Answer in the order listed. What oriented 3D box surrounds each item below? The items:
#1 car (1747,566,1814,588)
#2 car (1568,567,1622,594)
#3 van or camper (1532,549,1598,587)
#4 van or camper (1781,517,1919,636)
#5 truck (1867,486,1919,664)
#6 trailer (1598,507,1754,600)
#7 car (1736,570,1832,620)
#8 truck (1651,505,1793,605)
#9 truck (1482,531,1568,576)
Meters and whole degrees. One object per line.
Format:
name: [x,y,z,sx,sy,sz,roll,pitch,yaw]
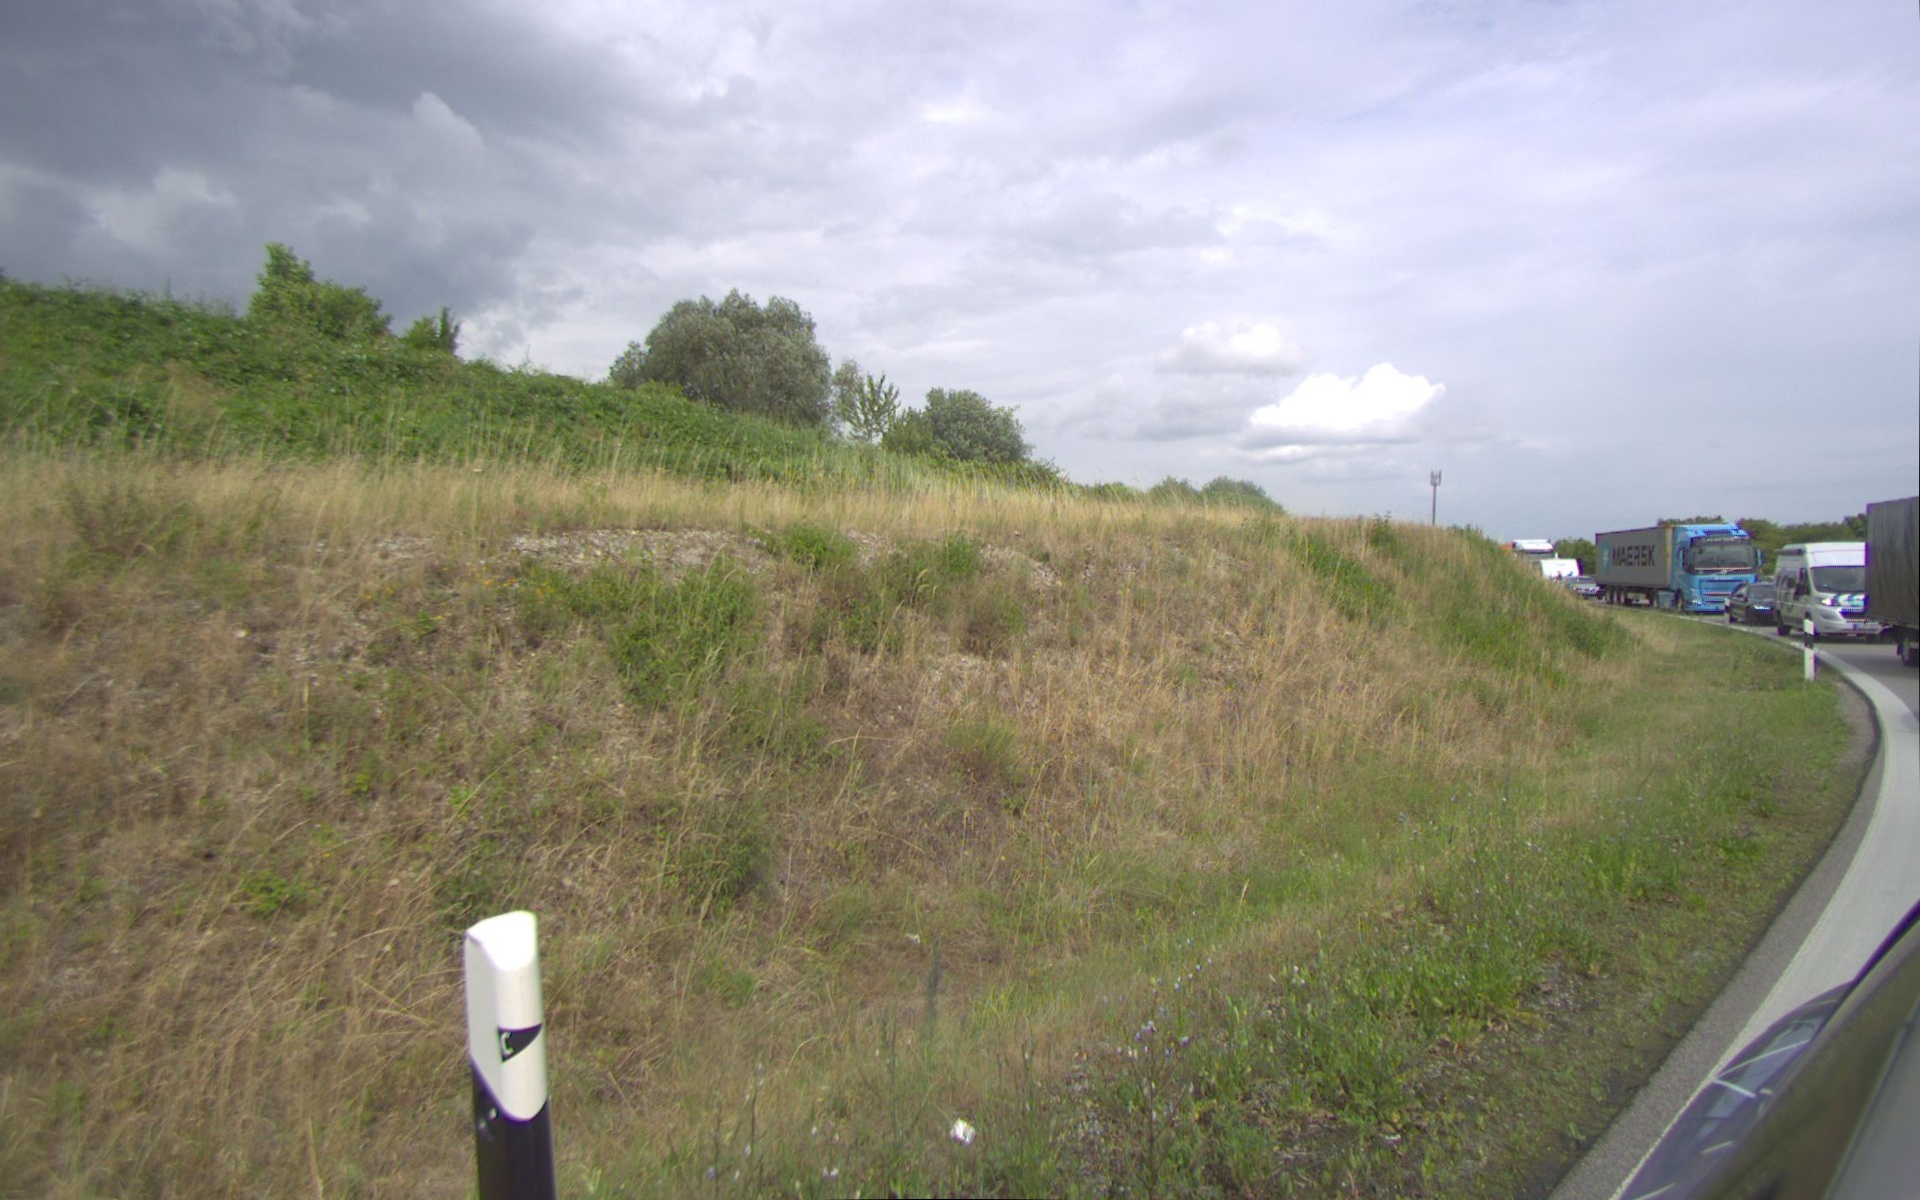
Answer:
car: [56.921,-1.617,70.288,1.972,1.440,4.439,0,2,15]
car: [39.219,-1.218,62.624,1.974,1.548,3.977,0,2,19]
van or camper: [40.803,-2.191,68.439,2.519,2.237,5.684,-1,4,17]
van or camper: [24.651,-0.609,27.816,2.379,2.945,5.659,0,0,30]
truck: [18.813,-0.456,18.202,2.550,3.207,7.381,0,0,33]
trailer: [36.215,-2.156,51.844,3.234,4.214,11.943,0,0,19]
car: [29.240,-0.231,36.045,1.983,1.638,3.960,1,2,29]
truck: [33.928,-1.875,45.421,3.139,4.124,6.605,0,0,19]
truck: [44.142,-3.573,79.466,3.080,3.279,11.113,0,2,14]
